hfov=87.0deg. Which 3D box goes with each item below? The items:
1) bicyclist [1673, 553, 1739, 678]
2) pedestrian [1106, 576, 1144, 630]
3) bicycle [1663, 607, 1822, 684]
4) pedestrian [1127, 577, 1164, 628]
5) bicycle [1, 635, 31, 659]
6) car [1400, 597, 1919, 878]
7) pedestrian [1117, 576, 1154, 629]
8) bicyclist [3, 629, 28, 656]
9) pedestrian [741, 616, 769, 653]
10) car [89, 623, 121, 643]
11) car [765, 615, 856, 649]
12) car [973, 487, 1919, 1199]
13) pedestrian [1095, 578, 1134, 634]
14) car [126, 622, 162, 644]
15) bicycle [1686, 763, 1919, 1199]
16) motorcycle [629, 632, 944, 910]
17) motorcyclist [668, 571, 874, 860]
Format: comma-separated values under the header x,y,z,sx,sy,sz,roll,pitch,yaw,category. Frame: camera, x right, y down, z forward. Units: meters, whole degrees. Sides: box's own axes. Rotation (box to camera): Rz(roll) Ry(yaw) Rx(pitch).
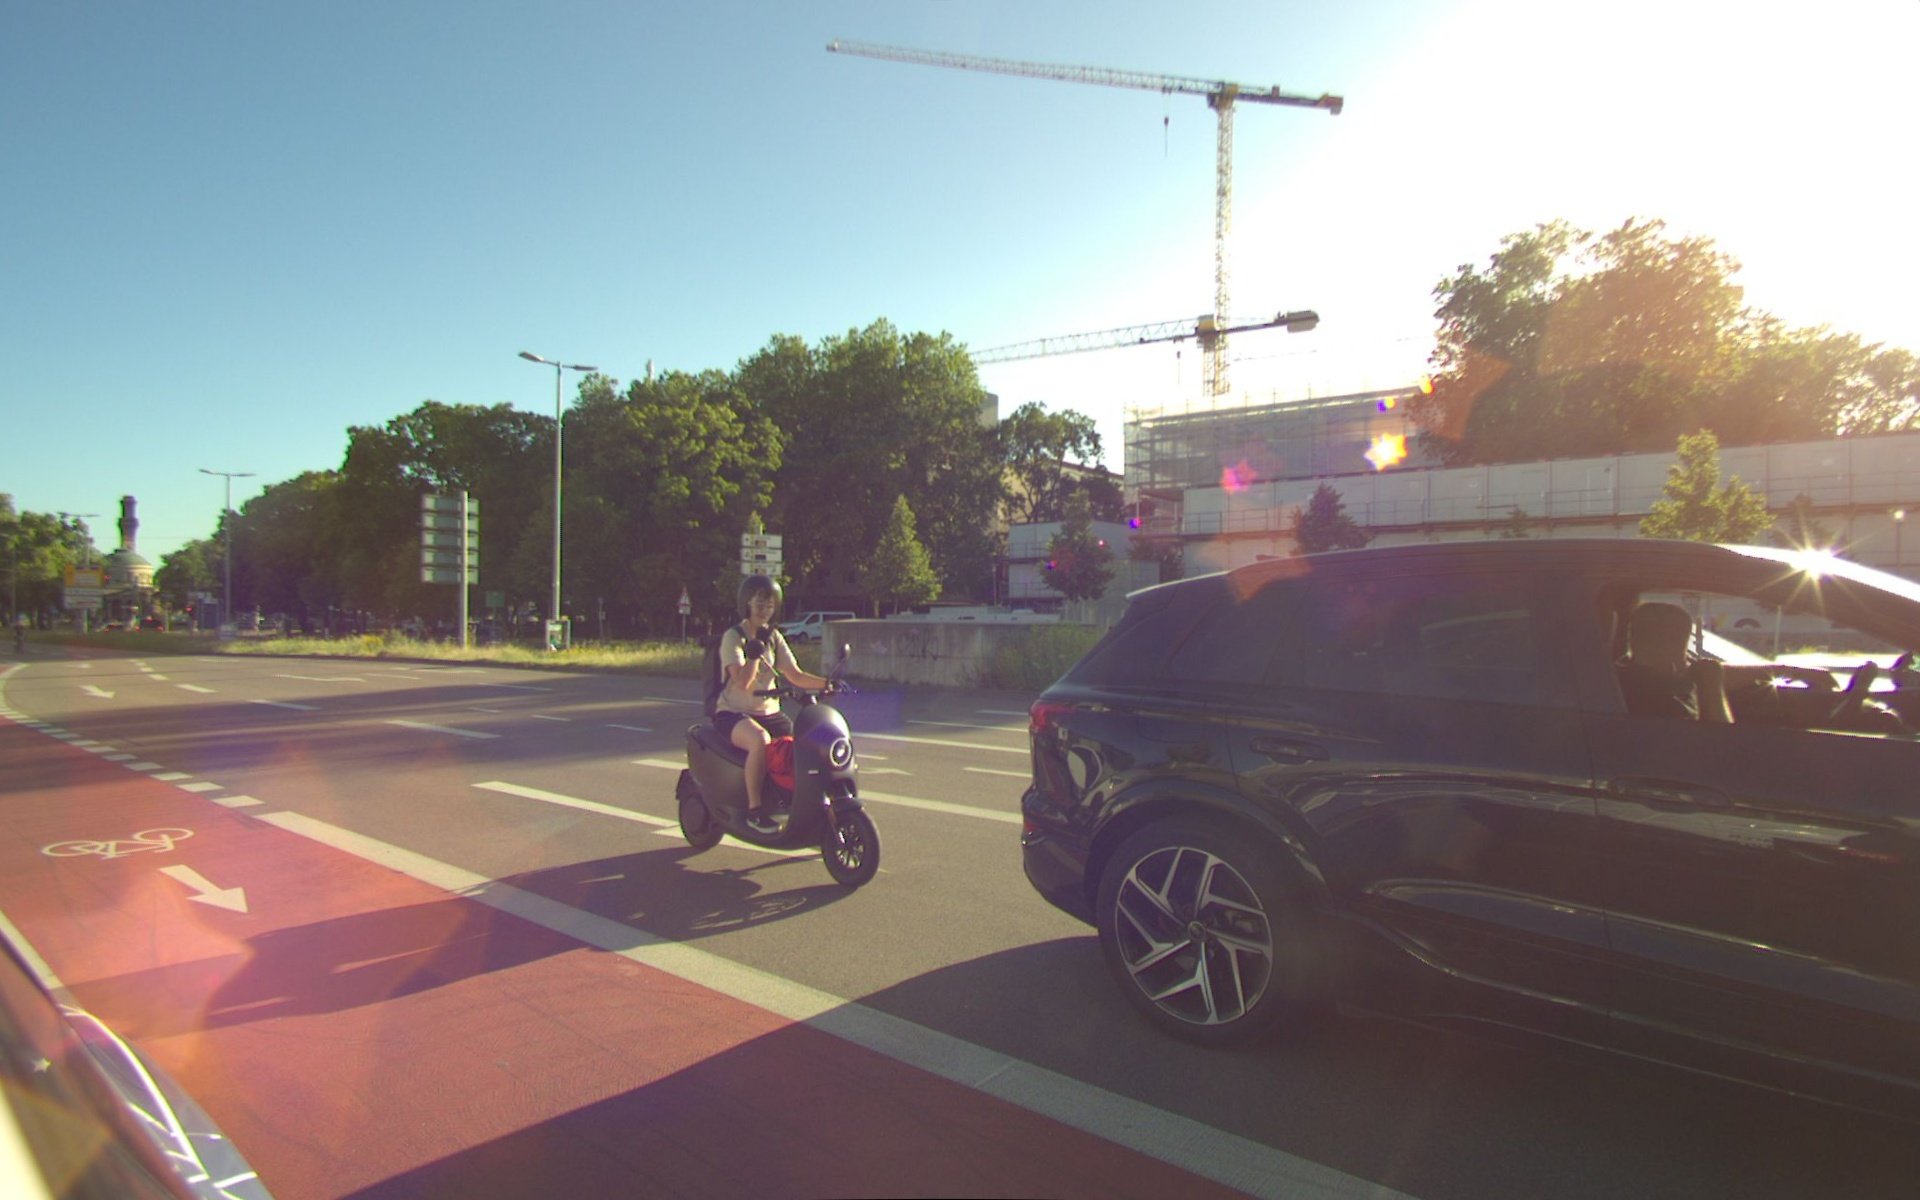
x,y,z,sx,sy,sz,roll,pitch,yaw,category
19.278,0.388,26.169,1.305,3.126,0.831,-1,0,39,bicyclist
6.323,0.112,38.758,1.135,2.029,0.930,-1,0,35,pedestrian
19.819,1.152,25.718,3.079,1.824,0.831,-3,-1,40,bicycle
7.386,0.098,40.326,1.135,2.029,0.930,-1,0,35,pedestrian
-47.877,2.373,51.327,2.806,1.124,0.843,-2,-1,41,bicycle
4.972,0.756,6.543,3.603,1.497,1.477,-2,-1,41,car
6.858,0.105,39.552,1.135,2.029,0.930,-1,0,35,pedestrian
-47.980,2.144,51.429,0.829,1.358,0.843,-2,-1,41,bicyclist
-10.533,1.756,52.064,1.018,1.845,0.977,-1,0,37,pedestrian
-79.877,3.045,94.524,3.945,1.802,1.725,-1,0,41,car
-9.067,1.932,61.841,2.065,1.950,5.443,-1,-2,42,car
2.414,0.578,3.023,4.677,1.647,1.753,-1,0,40,car
5.800,0.224,37.962,1.135,2.029,0.930,-1,0,35,pedestrian
-71.365,2.860,88.532,3.998,1.841,1.796,-1,0,41,car
1.427,0.791,0.379,1.829,1.227,0.610,-2,-1,39,bicycle
-1.035,0.844,5.726,1.883,1.303,0.715,-2,-1,41,motorcycle
-1.081,0.598,5.767,0.917,1.485,0.717,-2,-1,41,motorcyclist
